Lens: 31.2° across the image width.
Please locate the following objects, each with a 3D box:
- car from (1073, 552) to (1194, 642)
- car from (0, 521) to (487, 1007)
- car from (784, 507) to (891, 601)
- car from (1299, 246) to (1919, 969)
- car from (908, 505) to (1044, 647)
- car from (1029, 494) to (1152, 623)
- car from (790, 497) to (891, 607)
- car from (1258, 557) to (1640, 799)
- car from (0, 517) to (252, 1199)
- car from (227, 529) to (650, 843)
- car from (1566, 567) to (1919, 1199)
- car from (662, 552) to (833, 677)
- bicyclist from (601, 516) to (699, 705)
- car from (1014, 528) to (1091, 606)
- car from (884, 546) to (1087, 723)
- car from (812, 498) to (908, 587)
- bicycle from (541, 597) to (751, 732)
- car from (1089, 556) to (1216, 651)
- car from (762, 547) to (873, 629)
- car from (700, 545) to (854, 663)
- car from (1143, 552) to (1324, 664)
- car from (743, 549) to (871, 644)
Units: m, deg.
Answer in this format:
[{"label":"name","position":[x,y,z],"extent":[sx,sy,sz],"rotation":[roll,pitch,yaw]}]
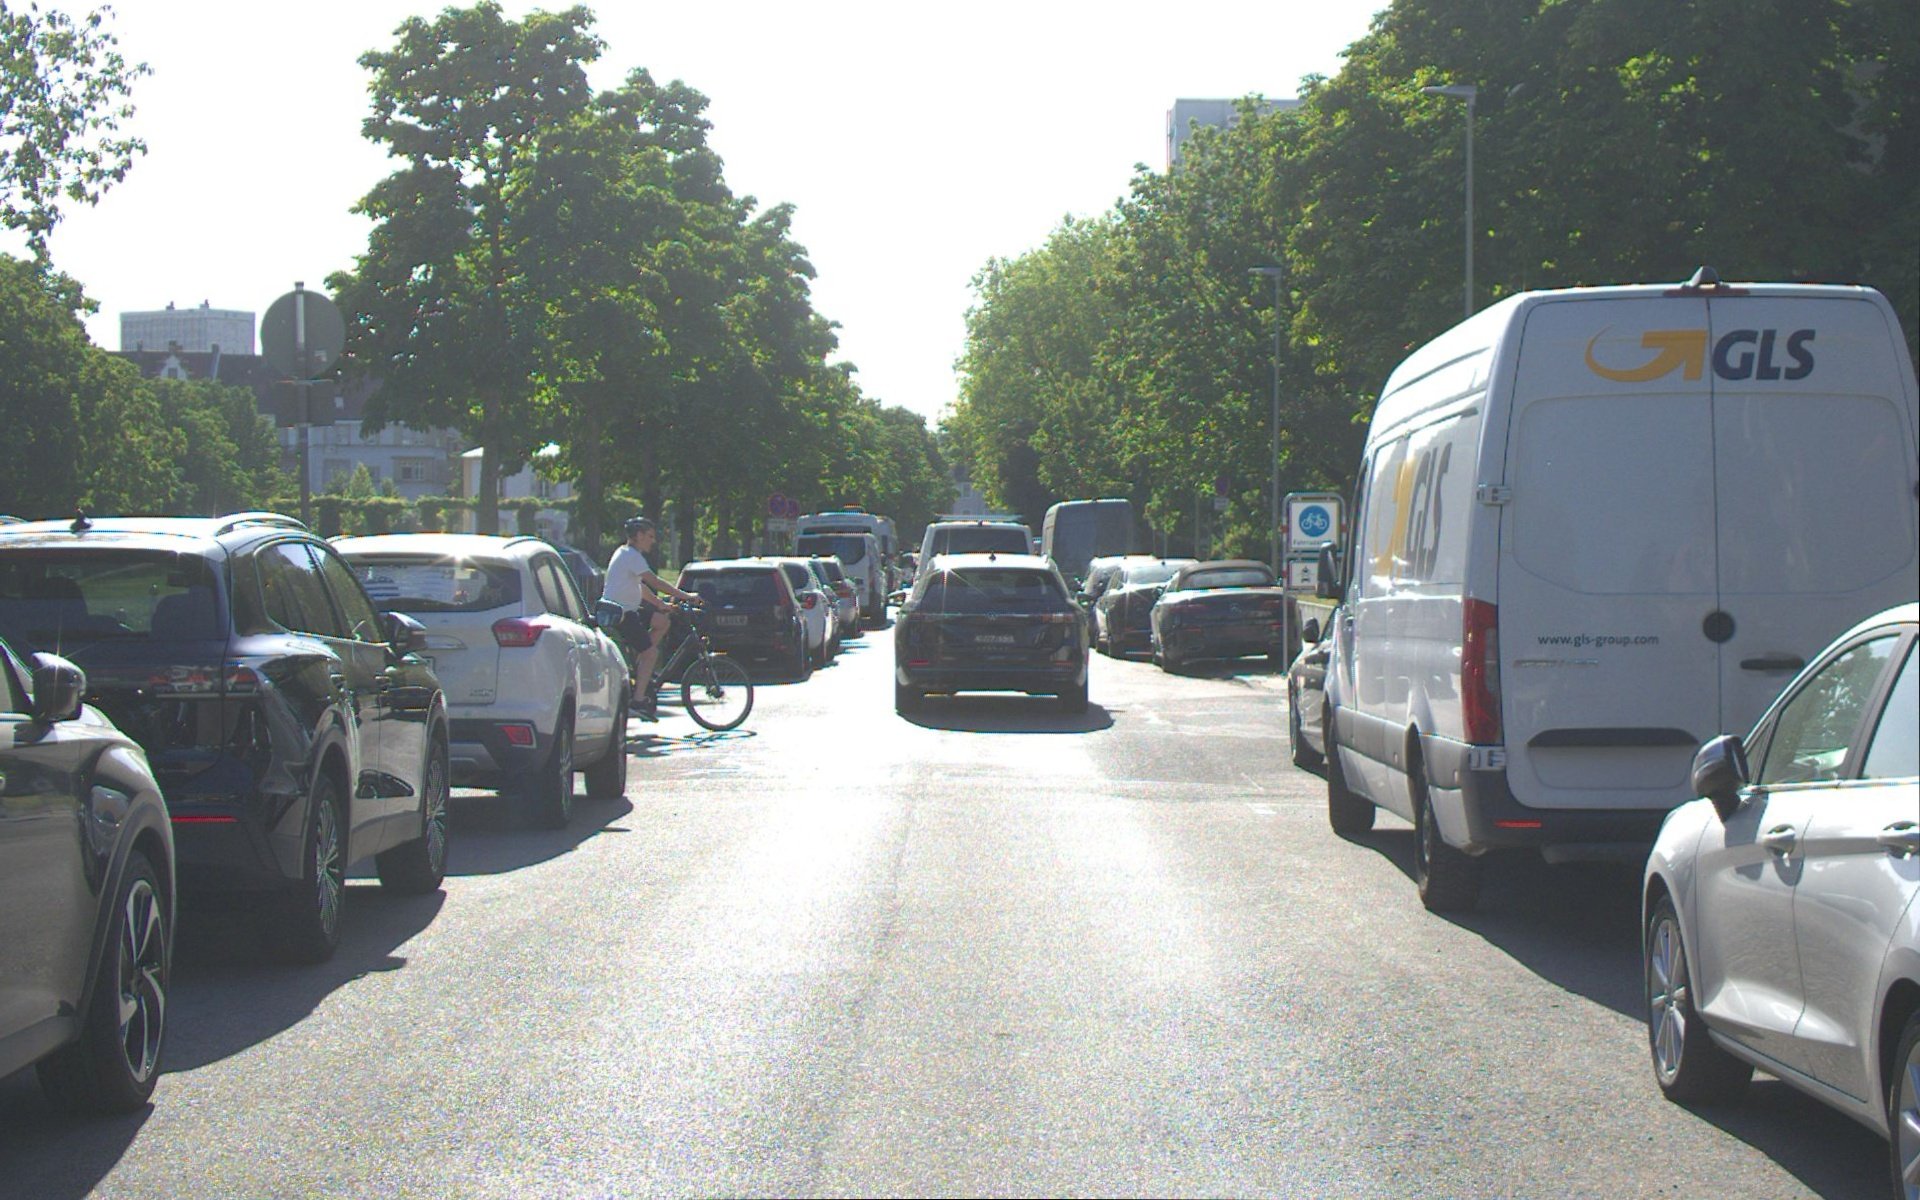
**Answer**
[{"label":"car","position":[2.918,-0.079,58.647],"extent":[1.779,1.482,4.032],"rotation":[0,1,-1]},{"label":"car","position":[-3.214,0.533,14.080],"extent":[1.843,1.633,4.715],"rotation":[-1,1,0]},{"label":"car","position":[-2.589,-0.982,73.354],"extent":[2.098,1.936,4.127],"rotation":[0,1,0]},{"label":"car","position":[2.984,-0.029,16.494],"extent":[2.143,2.703,6.841],"rotation":[-1,1,1]},{"label":"car","position":[0.279,-0.378,51.232],"extent":[1.894,1.984,4.010],"rotation":[-1,1,1]},{"label":"car","position":[2.755,-0.909,73.811],"extent":[2.162,2.680,5.417],"rotation":[0,1,-3]},{"label":"car","position":[-2.741,-1.115,79.766],"extent":[2.098,2.488,4.126],"rotation":[0,1,1]},{"label":"car","position":[3.313,0.468,24.154],"extent":[1.958,1.476,4.499],"rotation":[-1,1,-1]},{"label":"car","position":[-3.069,0.633,7.991],"extent":[1.819,1.604,4.739],"rotation":[-1,1,0]},{"label":"car","position":[-2.996,0.427,20.598],"extent":[1.756,1.641,4.287],"rotation":[-1,1,1]},{"label":"car","position":[2.861,0.693,8.534],"extent":[1.849,1.461,4.202],"rotation":[1,1,-1]},{"label":"car","position":[-2.590,0.164,42.647],"extent":[1.748,1.420,3.916],"rotation":[-2,0,1]},{"label":"bicyclist","position":[-2.637,0.081,29.300],"extent":[0.788,1.591,0.696],"rotation":[0,1,-3]},{"label":"car","position":[2.758,-1.012,103.555],"extent":[2.163,2.285,5.266],"rotation":[0,1,0]},{"label":"car","position":[0.271,0.276,32.690],"extent":[1.779,1.526,4.000],"rotation":[1,1,1]},{"label":"car","position":[-3.031,-1.773,105.222],"extent":[2.617,2.636,6.114],"rotation":[0,1,1]},{"label":"bicycle","position":[-2.665,0.545,29.304],"extent":[1.760,1.123,0.663],"rotation":[0,0,-3]},{"label":"car","position":[2.895,0.027,52.274],"extent":[1.779,1.366,4.126],"rotation":[0,1,1]},{"label":"car","position":[-2.656,-0.247,64.896],"extent":[1.833,1.495,4.126],"rotation":[0,1,1]},{"label":"car","position":[-2.470,0.039,47.167],"extent":[1.777,1.490,3.875],"rotation":[-2,0,1]},{"label":"car","position":[3.623,0.072,46.309],"extent":[2.125,1.333,4.506],"rotation":[-2,1,1]},{"label":"car","position":[-2.420,-0.081,55.096],"extent":[1.779,1.456,4.126],"rotation":[0,1,1]}]
